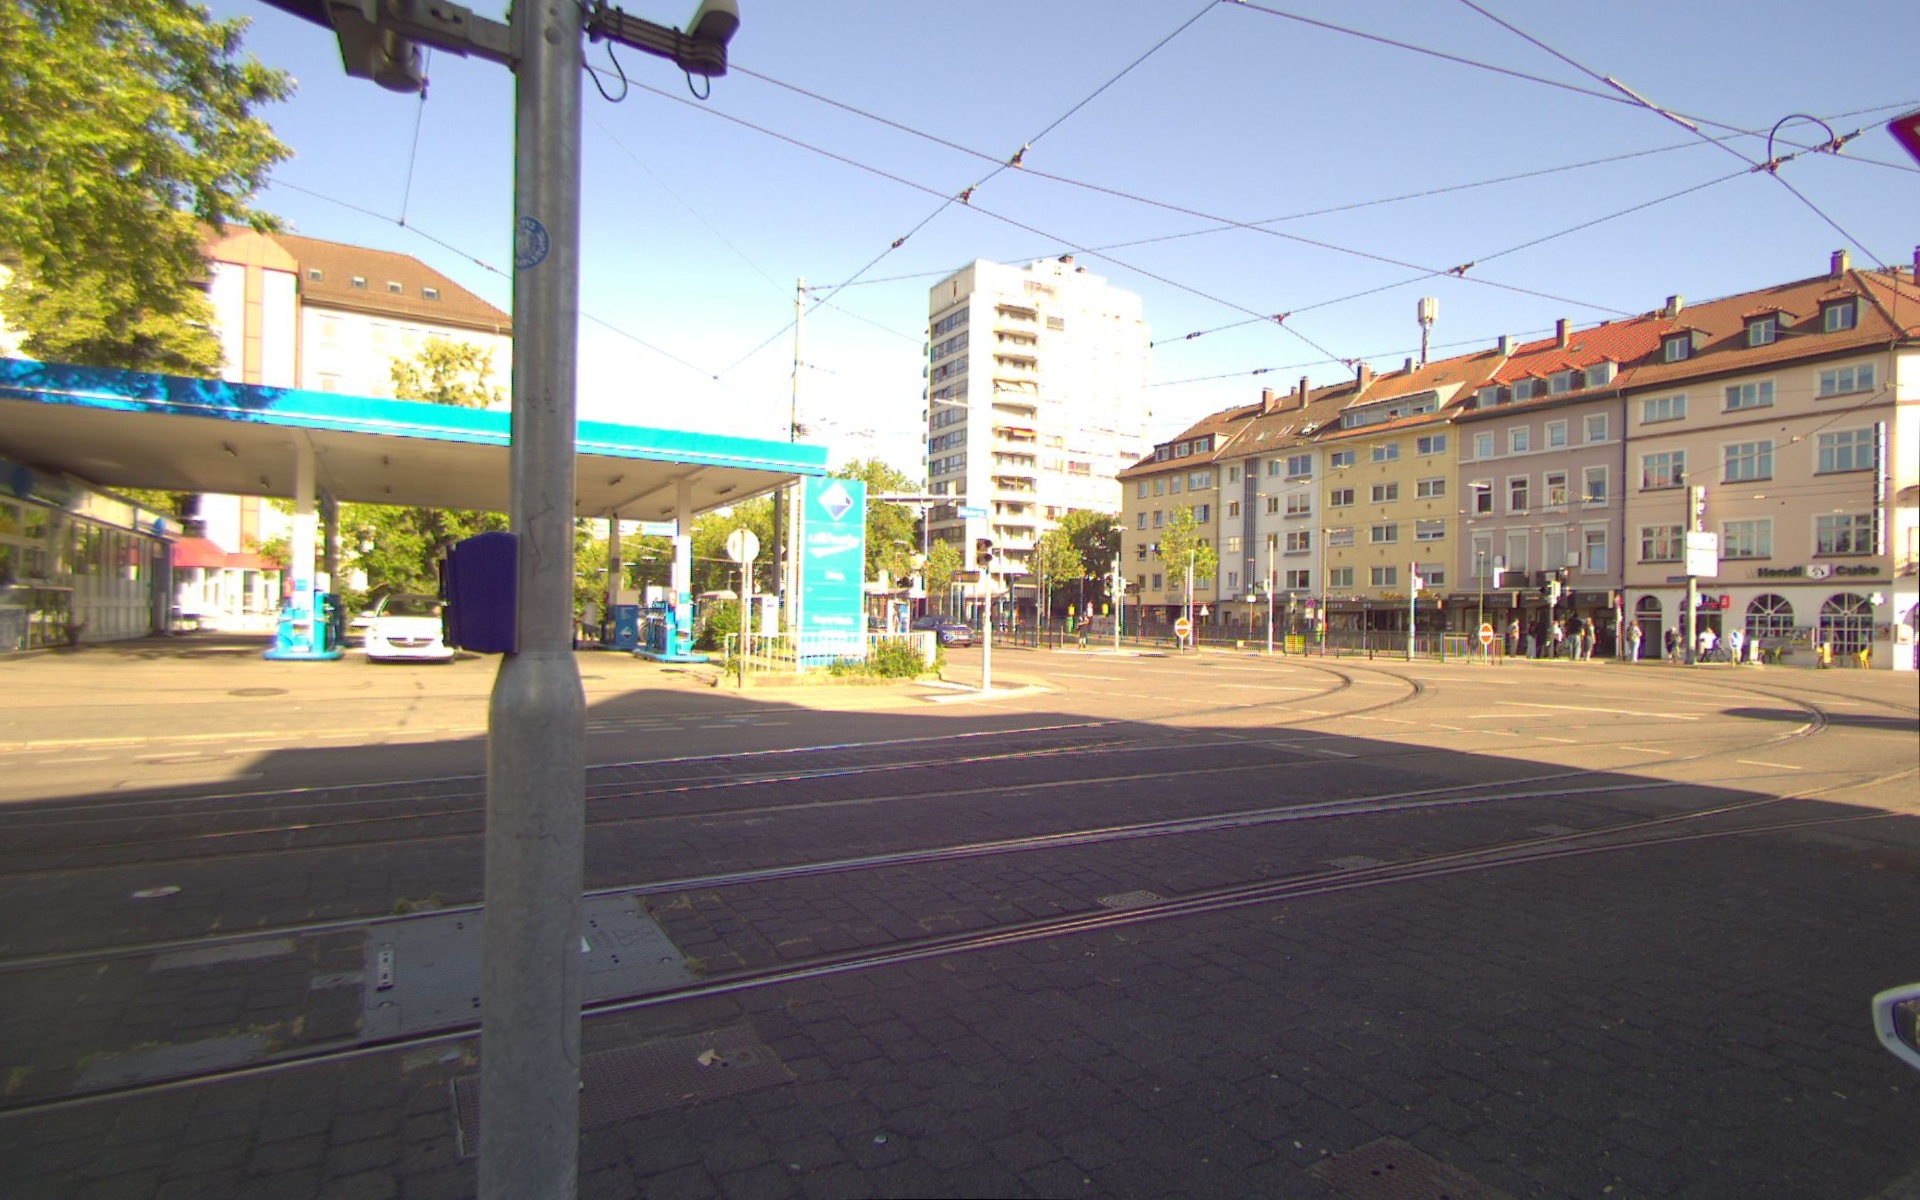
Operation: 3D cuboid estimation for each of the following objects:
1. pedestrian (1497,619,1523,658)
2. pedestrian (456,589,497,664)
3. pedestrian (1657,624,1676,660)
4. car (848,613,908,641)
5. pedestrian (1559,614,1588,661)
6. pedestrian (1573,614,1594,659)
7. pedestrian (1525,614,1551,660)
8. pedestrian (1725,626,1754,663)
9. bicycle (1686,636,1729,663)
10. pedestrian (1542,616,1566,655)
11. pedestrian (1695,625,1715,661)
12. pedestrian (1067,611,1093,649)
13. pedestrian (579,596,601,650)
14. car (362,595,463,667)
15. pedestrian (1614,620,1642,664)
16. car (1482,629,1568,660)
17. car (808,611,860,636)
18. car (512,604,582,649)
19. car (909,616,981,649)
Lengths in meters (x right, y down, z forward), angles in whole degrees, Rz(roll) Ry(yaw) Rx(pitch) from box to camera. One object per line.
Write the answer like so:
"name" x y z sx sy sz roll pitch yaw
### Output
"pedestrian" 24.181 1.674 44.151 0.621 1.704 0.763 1 -1 -30
"pedestrian" -11.225 0.612 23.324 0.753 1.715 0.581 1 -1 -34
"pedestrian" 33.902 2.018 48.177 0.731 1.704 0.626 0 -1 35
"car" -4.487 1.439 54.307 1.697 1.439 4.149 1 -1 -28
"pedestrian" 24.729 1.496 40.504 0.714 1.853 0.763 1 -1 -30
"pedestrian" 25.530 1.498 41.120 0.554 1.810 0.556 1 -1 -35
"pedestrian" 23.896 1.532 41.539 0.769 1.874 0.625 1 -1 -30
"pedestrian" 37.110 2.116 47.837 0.736 1.704 0.902 1 -1 -35
"bicycle" 37.602 2.465 50.517 1.693 1.293 0.385 0 -1 44
"pedestrian" 25.034 1.488 42.342 0.554 1.602 0.694 1 -1 -35
"pedestrian" 35.975 2.081 48.523 0.731 1.704 0.626 0 -1 35
"pedestrian" 5.255 1.298 43.967 0.788 1.632 0.766 1 -1 -36
"pedestrian" -11.862 0.744 32.168 0.579 1.715 0.756 1 -1 -25
"car" -12.359 0.664 22.559 1.793 1.461 3.966 1 -1 -31
"pedestrian" 26.442 1.651 39.768 0.621 1.704 0.737 1 -1 -30
"car" 30.744 2.393 54.777 1.795 1.511 3.715 2 0 -27
"car" -7.614 1.393 60.317 1.697 1.439 4.149 1 -1 -28
"car" -13.579 0.850 32.880 1.697 1.360 3.970 1 -1 -28
"car" -0.775 1.526 47.871 1.697 1.439 4.149 1 -1 -28
